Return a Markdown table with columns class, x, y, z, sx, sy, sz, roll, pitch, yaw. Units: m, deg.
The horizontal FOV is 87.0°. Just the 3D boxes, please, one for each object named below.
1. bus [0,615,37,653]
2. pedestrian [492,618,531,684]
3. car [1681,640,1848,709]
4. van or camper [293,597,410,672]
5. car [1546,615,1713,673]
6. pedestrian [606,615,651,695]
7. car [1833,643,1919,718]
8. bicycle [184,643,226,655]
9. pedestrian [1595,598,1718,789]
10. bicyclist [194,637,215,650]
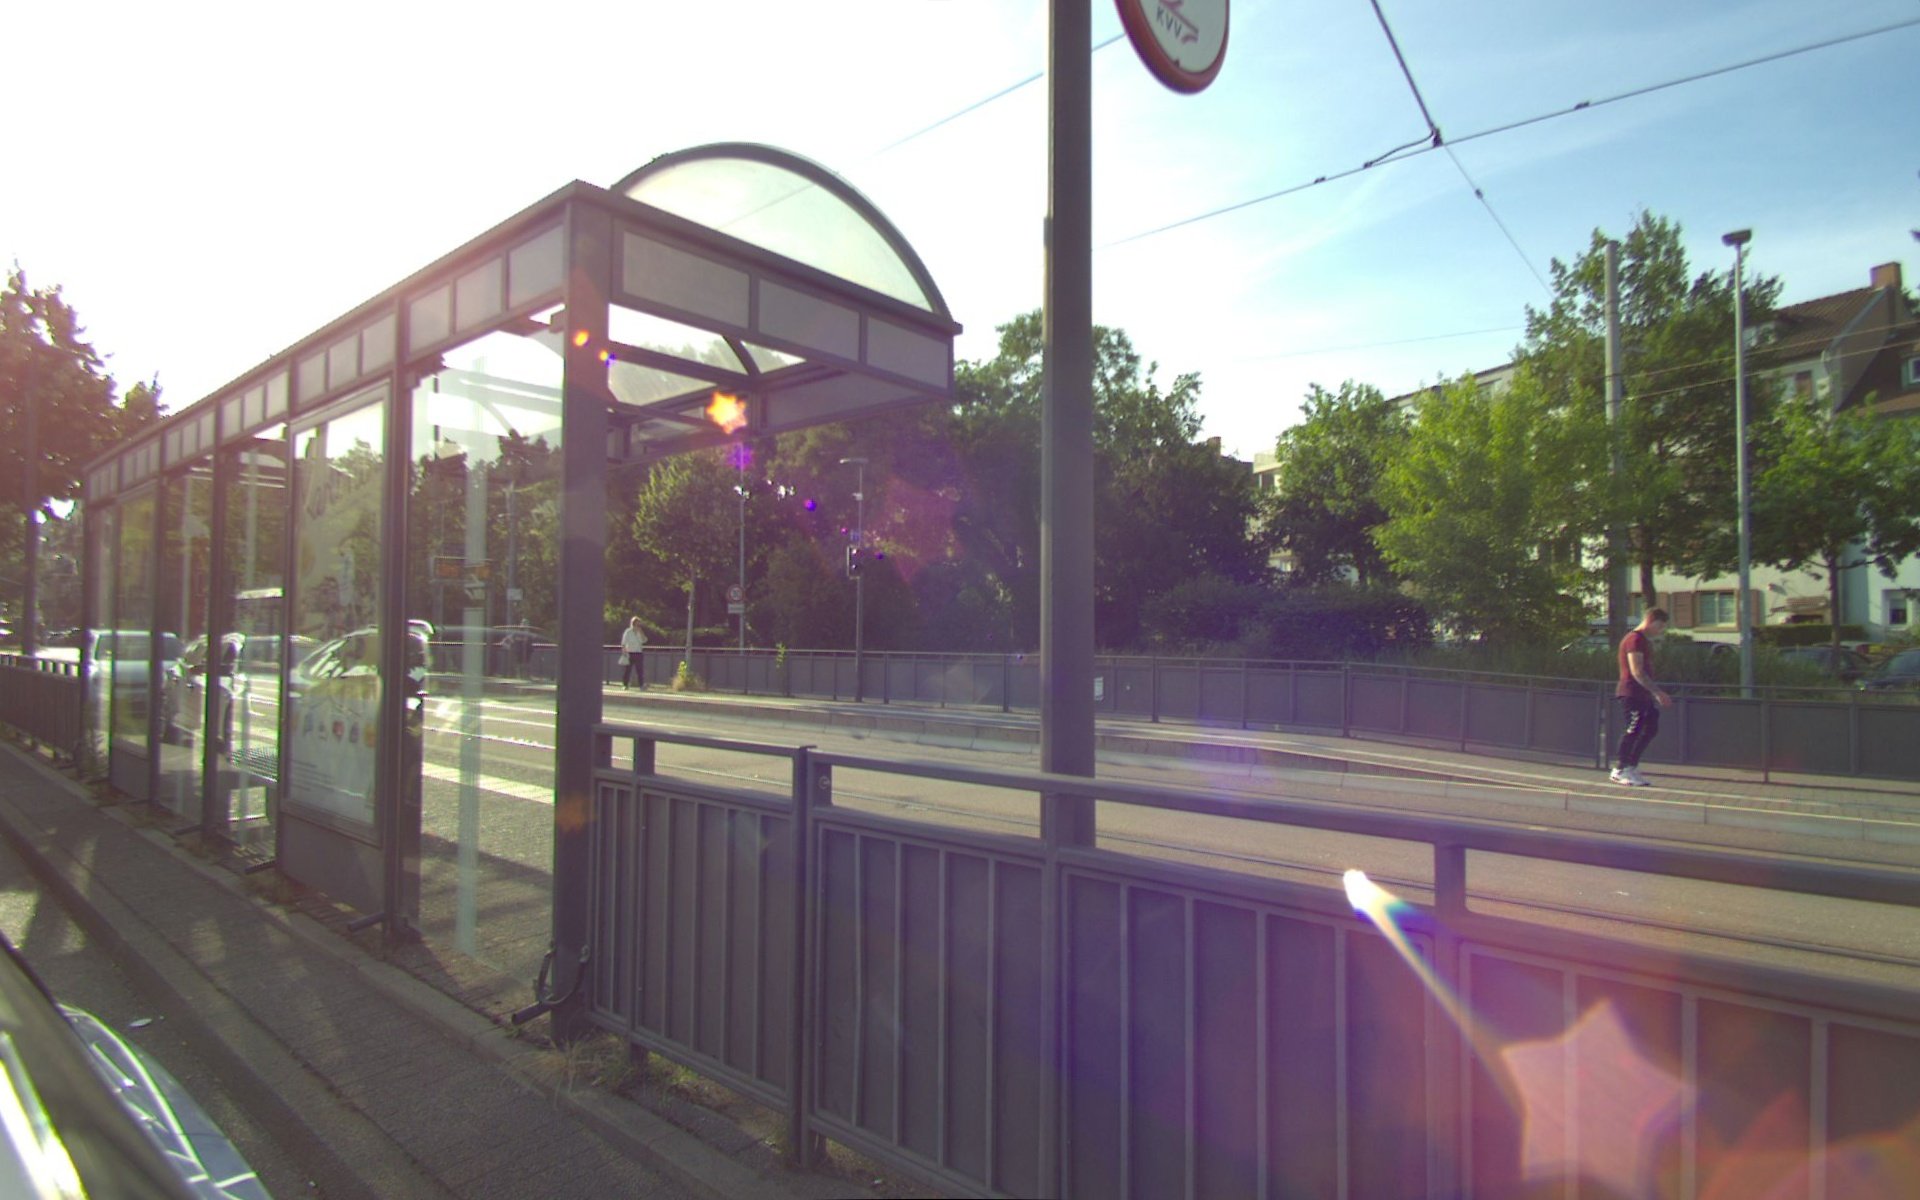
| class | x | y | z | sx | sy | sz | roll | pitch | yaw |
| --- | --- | --- | --- | --- | --- | --- | --- | --- | --- |
| bus | -90.643 | 3.167 | 96.880 | 9.258 | 3.461 | 2.405 | -1 | 0 | 41 |
| pedestrian | -11.918 | 1.362 | 26.898 | 0.618 | 1.697 | 0.613 | -2 | -6 | 41 |
| car | 18.185 | 1.622 | 22.839 | 3.935 | 1.409 | 2.004 | 2 | -3 | -37 |
| van or camper | -26.384 | 1.407 | 43.759 | 6.408 | 2.990 | 2.494 | -1 | 0 | 41 |
| car | 18.162 | 1.196 | 27.462 | 3.930 | 1.497 | 1.854 | 1 | -3 | -22 |
| pedestrian | -7.277 | 1.208 | 22.212 | 0.618 | 1.697 | 0.613 | -2 | -6 | 41 |
| car | 19.637 | 1.599 | 20.612 | 3.935 | 1.409 | 2.004 | 2 | -3 | -37 |
| bicycle | -57.683 | 3.727 | 77.318 | 0.631 | 0.888 | 2.502 | -2 | -3 | 45 |
| pedestrian | 6.534 | 0.862 | 9.512 | 0.877 | 1.697 | 0.547 | -2 | -6 | 41 |
| bicyclist | -57.718 | 3.323 | 77.289 | 0.672 | 1.032 | 1.200 | -2 | -3 | 45 |
